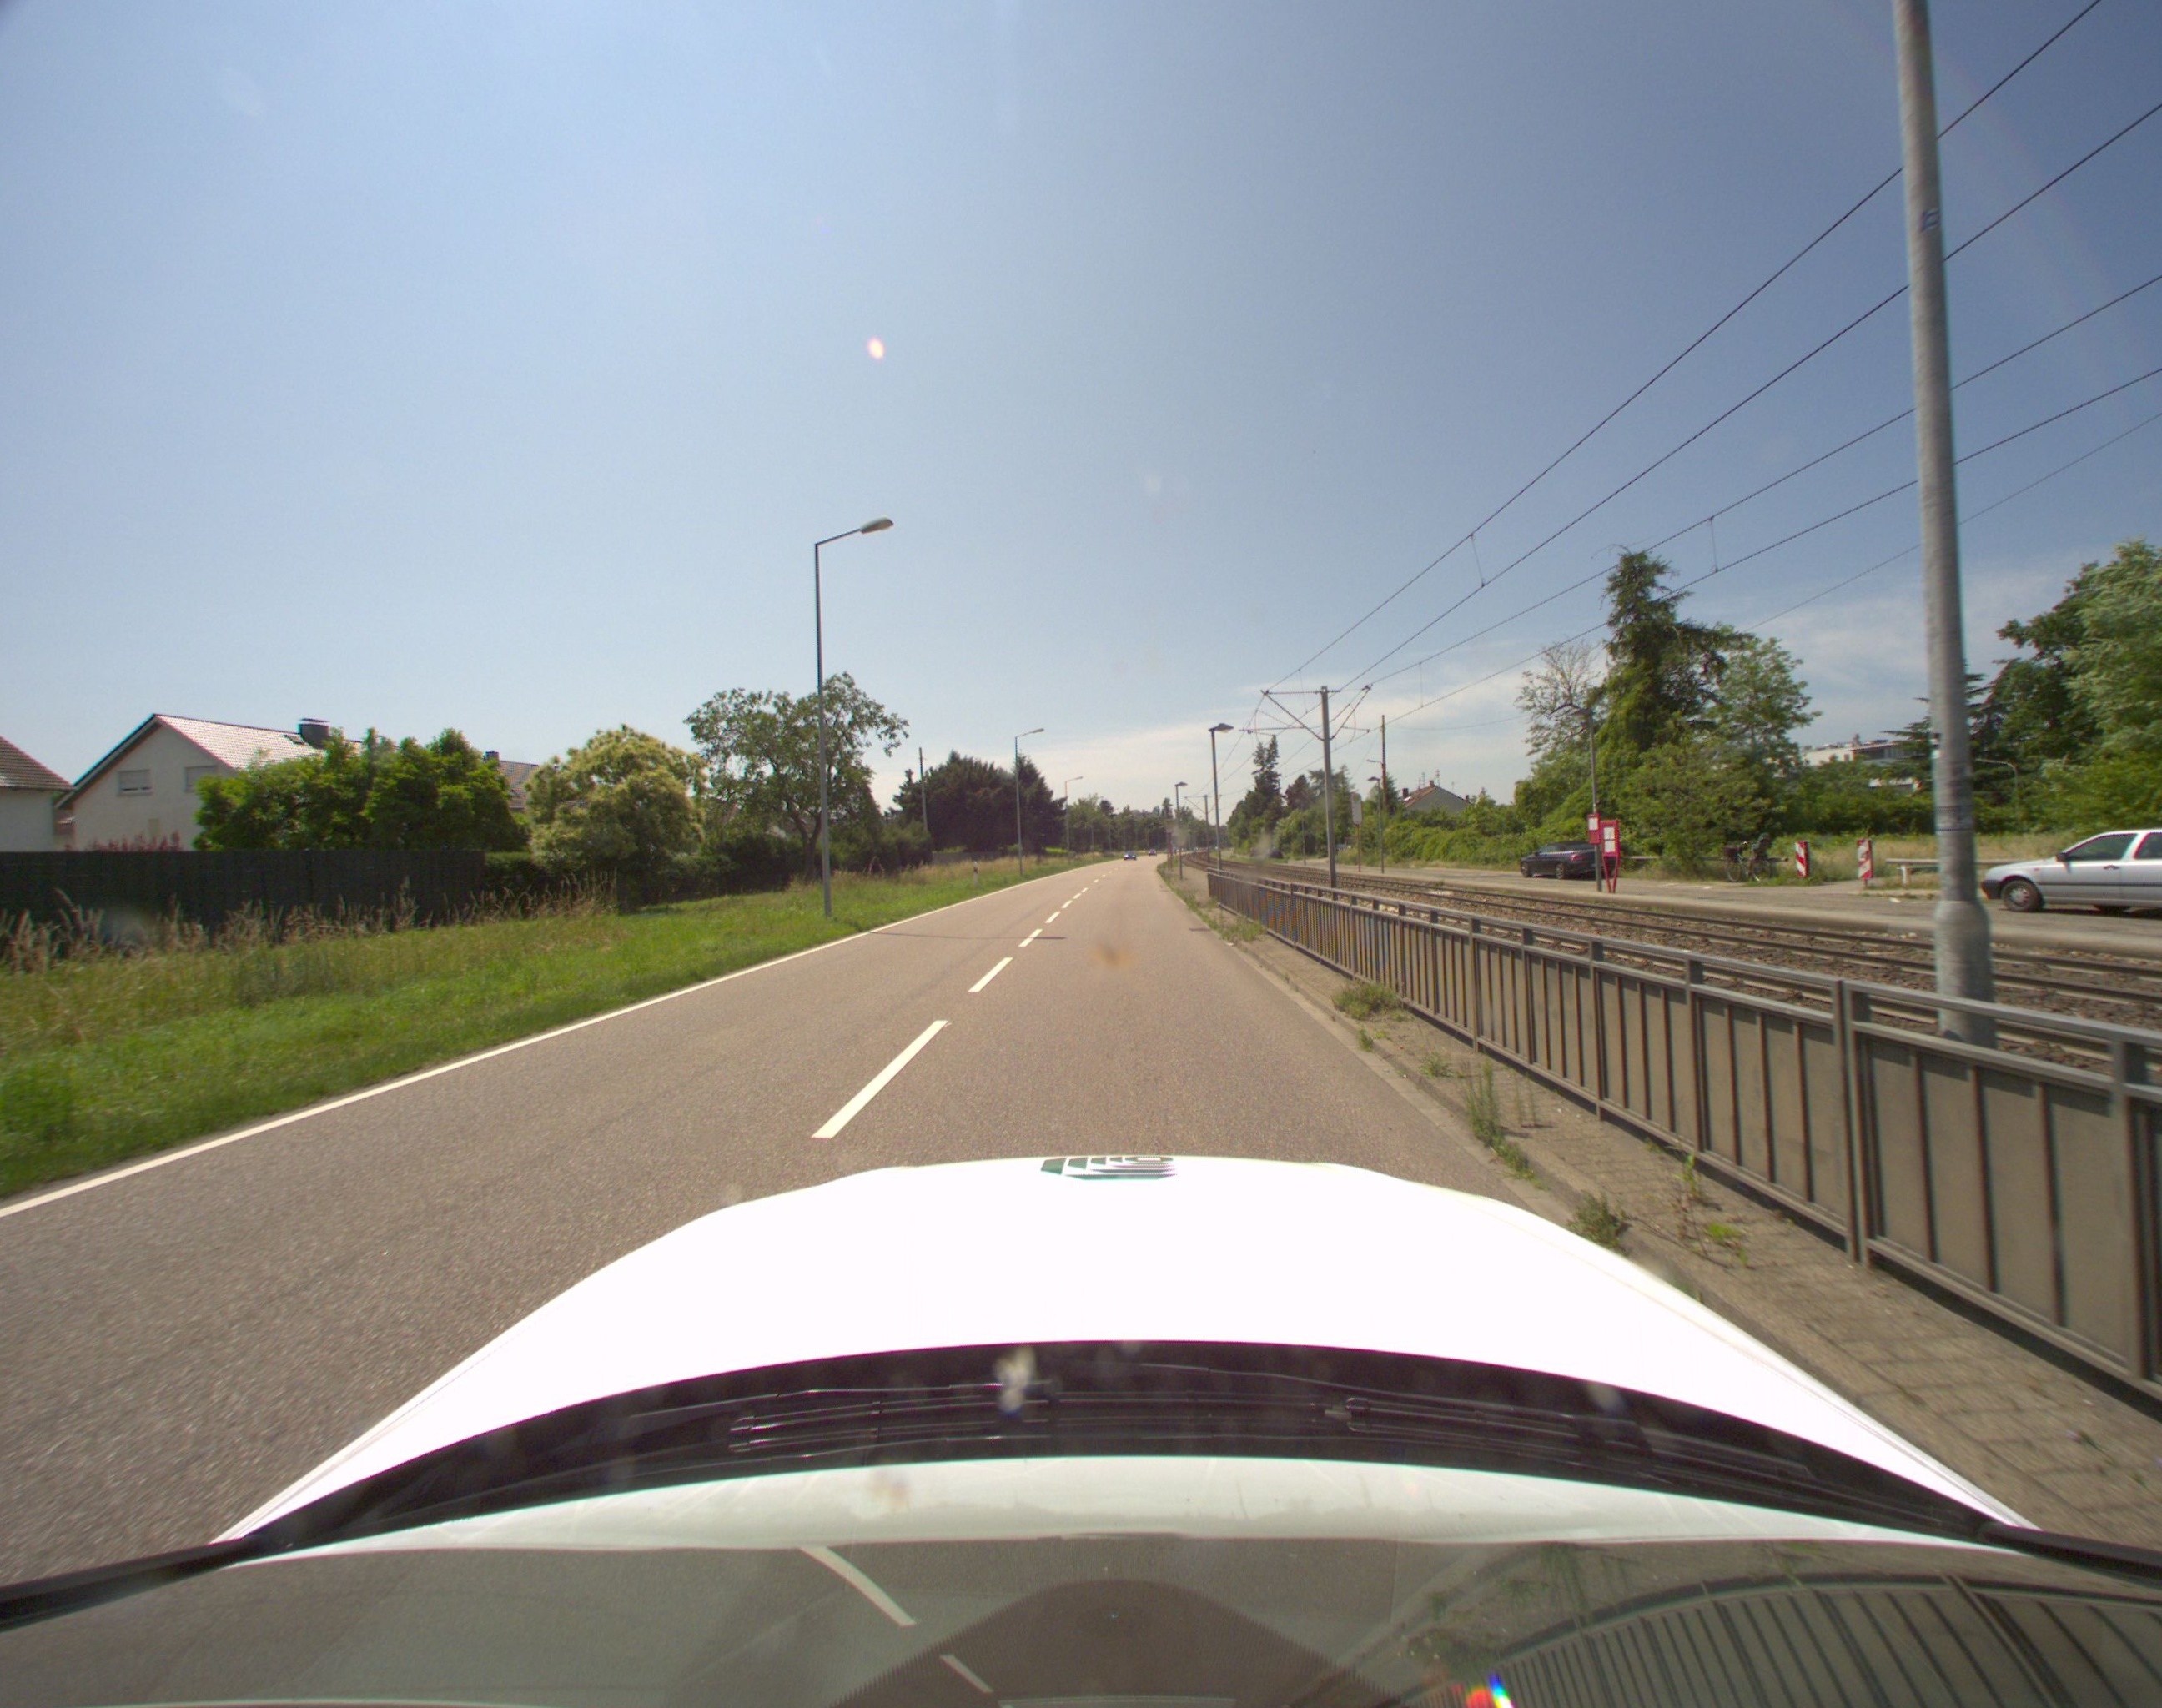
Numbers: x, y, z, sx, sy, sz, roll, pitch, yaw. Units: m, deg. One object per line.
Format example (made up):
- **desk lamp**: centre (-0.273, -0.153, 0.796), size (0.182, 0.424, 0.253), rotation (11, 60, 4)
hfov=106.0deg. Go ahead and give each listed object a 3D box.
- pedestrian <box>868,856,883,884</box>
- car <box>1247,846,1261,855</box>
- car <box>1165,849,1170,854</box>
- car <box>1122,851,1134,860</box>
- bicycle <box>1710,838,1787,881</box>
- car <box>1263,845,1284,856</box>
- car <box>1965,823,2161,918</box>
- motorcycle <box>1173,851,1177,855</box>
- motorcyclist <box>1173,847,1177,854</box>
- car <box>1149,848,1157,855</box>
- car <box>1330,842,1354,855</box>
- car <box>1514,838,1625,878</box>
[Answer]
- **pedestrian**: centre (-11.124, 0.858, 44.091), size (0.606, 1.477, 0.634), rotation (-1, 0, 5)
- **car**: centre (28.475, -0.598, 134.276), size (1.904, 1.470, 4.008), rotation (-1, 0, 7)
- **car**: centre (26.616, -0.675, 250.392), size (1.691, 1.491, 4.449), rotation (-1, 0, 7)
- **car**: centre (7.589, 0.267, 130.282), size (1.698, 1.404, 4.715), rotation (-1, 0, 6)
- **bicycle**: centre (20.519, 0.181, 25.056), size (0.706, 1.269, 1.663), rotation (-2, 0, -32)
- **car**: centre (23.985, -0.435, 101.387), size (1.852, 1.330, 4.520), rotation (-1, 0, 4)
- **car**: centre (17.127, 0.228, 12.938), size (1.931, 1.422, 4.003), rotation (-1, 0, 3)
- **motorcycle**: centre (26.008, -0.303, 225.053), size (0.964, 1.117, 2.741), rotation (-1, 0, 11)
- **motorcyclist**: centre (25.916, -0.984, 224.787), size (0.886, 1.905, 1.018), rotation (-1, 0, 11)
- **car**: centre (17.513, -0.632, 198.542), size (1.738, 1.632, 4.037), rotation (-1, 0, 6)
- **car**: centre (29.348, -0.599, 91.760), size (1.712, 1.419, 3.744), rotation (-1, 0, 4)
- **car**: centre (18.831, 0.150, 31.674), size (1.613, 1.422, 4.878), rotation (-1, 0, 4)
